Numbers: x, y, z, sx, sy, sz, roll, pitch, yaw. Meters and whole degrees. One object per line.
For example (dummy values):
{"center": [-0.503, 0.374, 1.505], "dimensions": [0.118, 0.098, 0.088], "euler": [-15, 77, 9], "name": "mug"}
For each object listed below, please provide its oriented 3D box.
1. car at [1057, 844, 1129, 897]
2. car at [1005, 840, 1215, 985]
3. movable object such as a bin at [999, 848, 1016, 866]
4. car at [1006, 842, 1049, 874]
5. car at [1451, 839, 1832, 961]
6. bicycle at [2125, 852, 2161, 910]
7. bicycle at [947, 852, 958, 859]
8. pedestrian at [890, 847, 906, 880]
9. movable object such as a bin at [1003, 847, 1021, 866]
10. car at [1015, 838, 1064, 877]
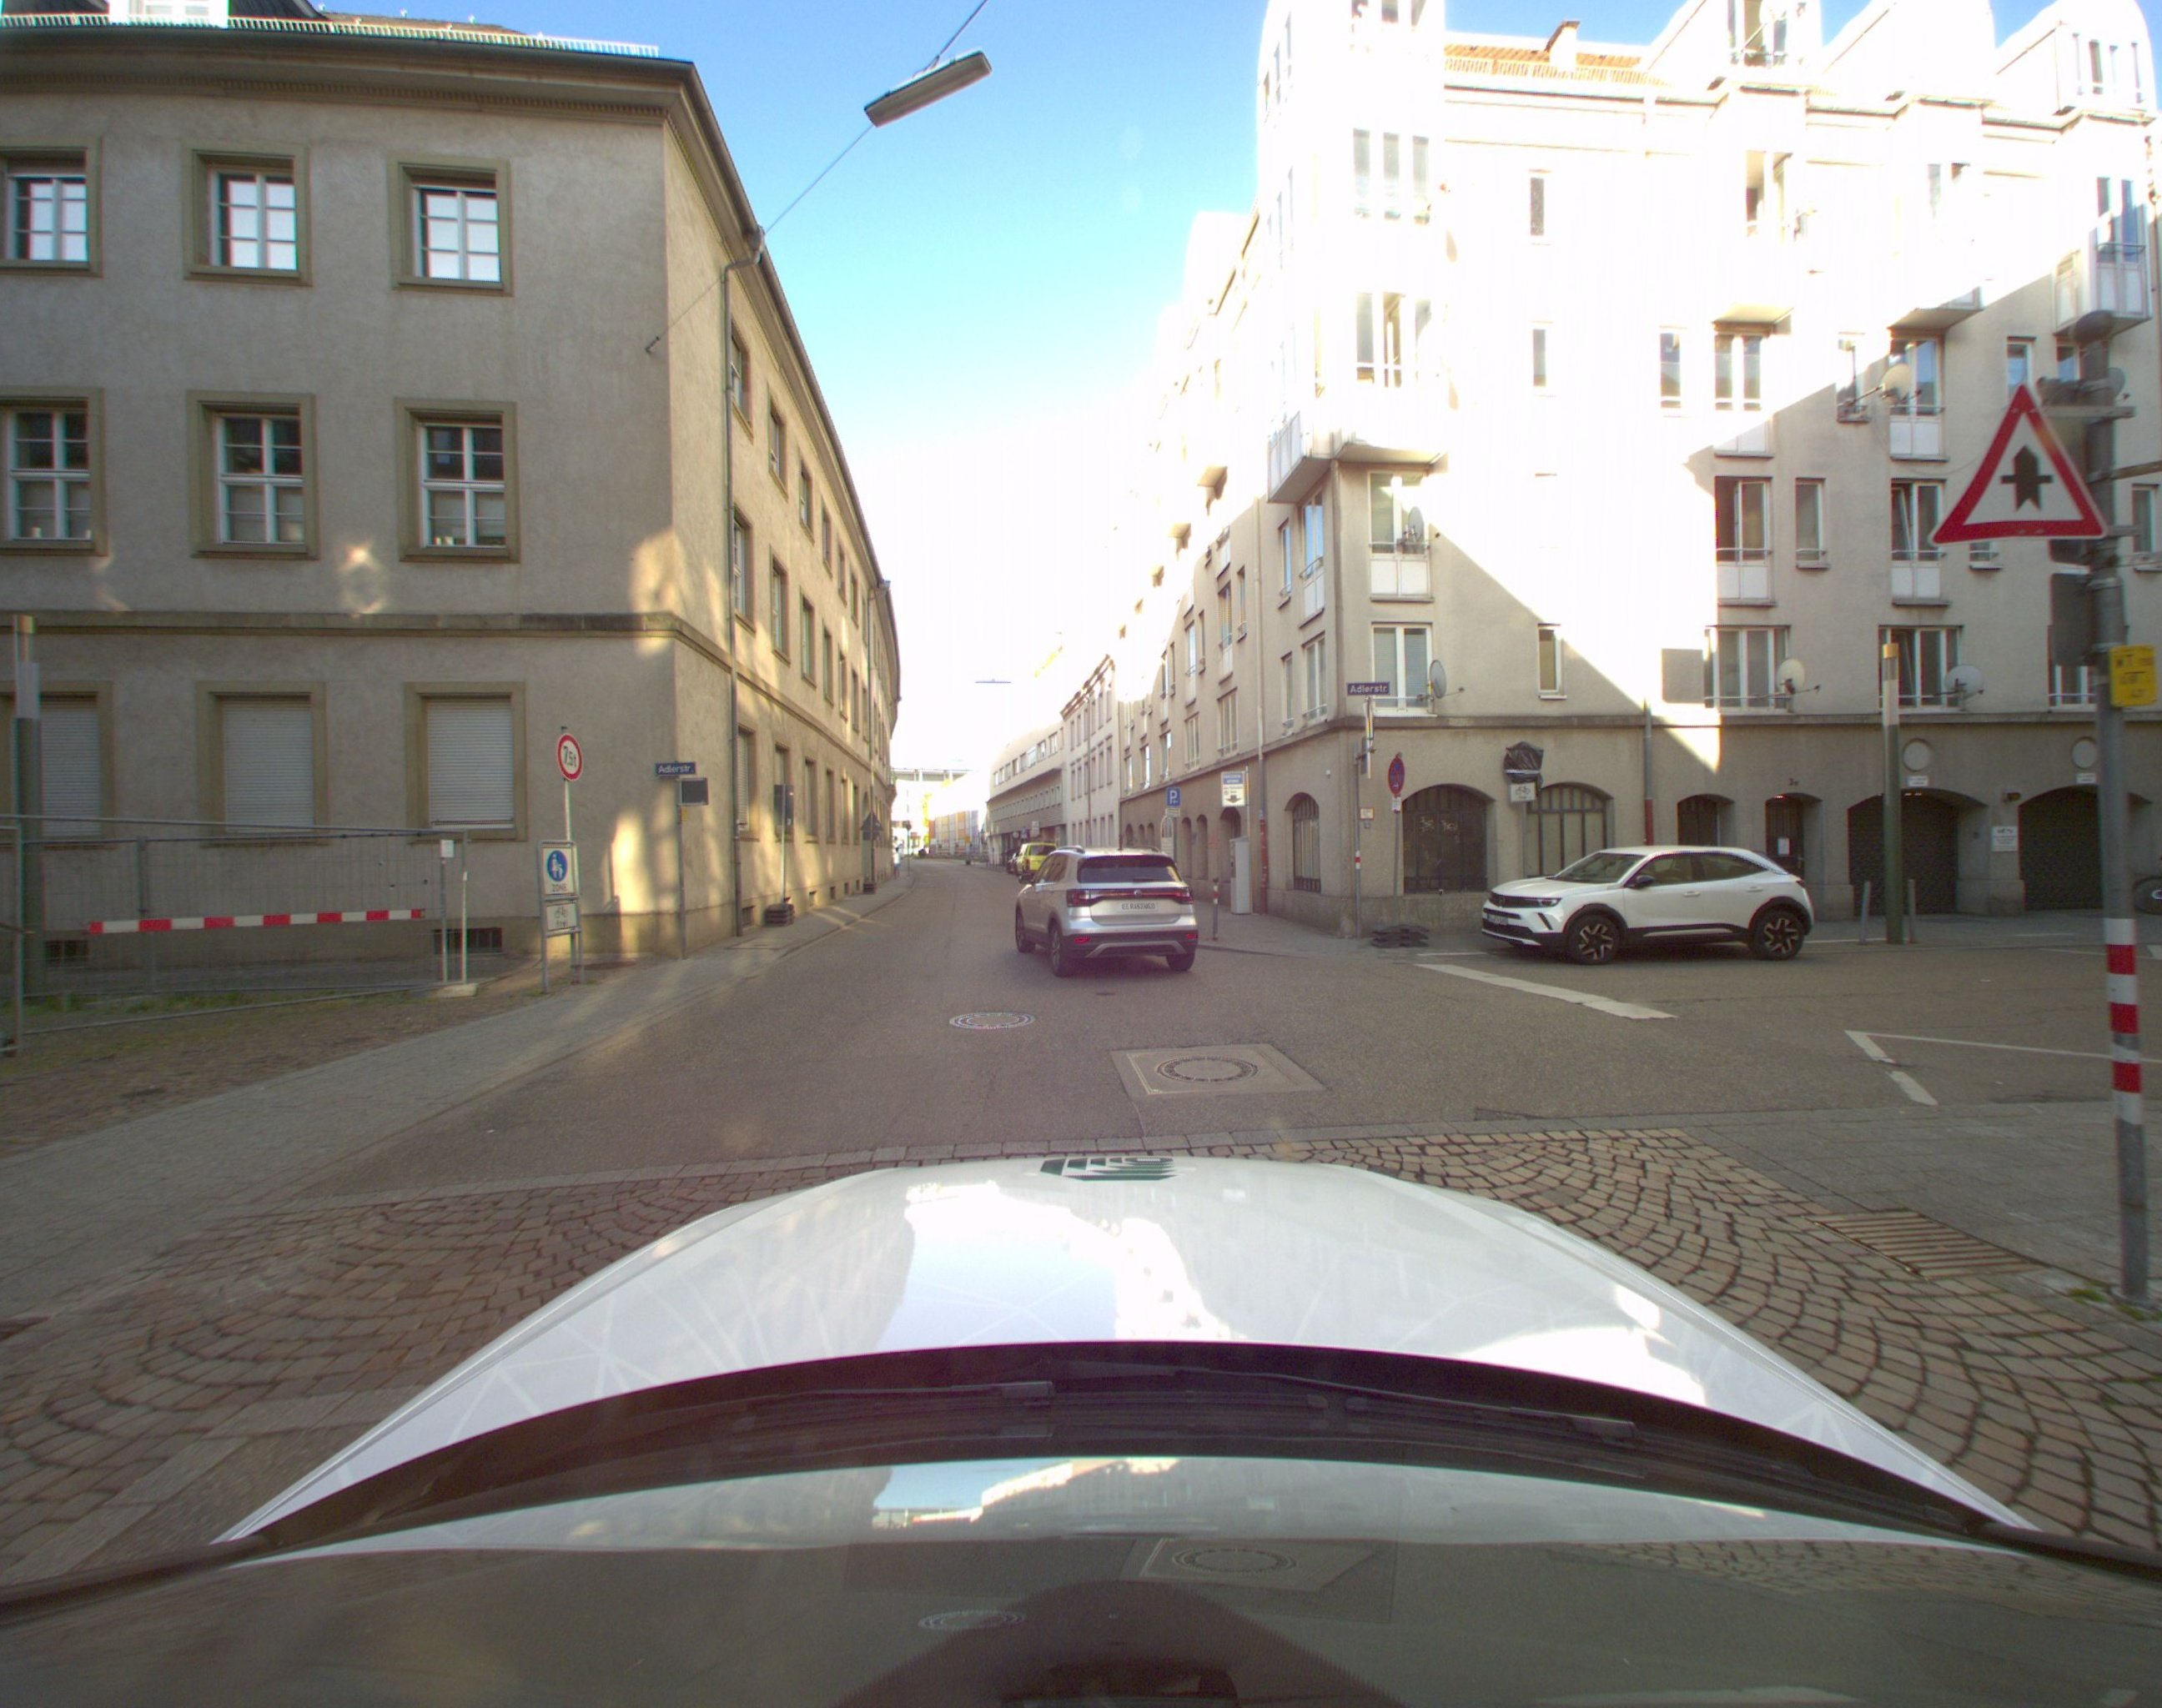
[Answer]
{"center": [0.333, 0.518, 28.030], "dimensions": [1.966, 1.692, 4.091], "euler": [0, 0, -7], "name": "car"}
{"center": [0.185, 0.639, 11.233], "dimensions": [1.839, 1.562, 3.981], "euler": [-2, 1, -14], "name": "car"}
{"center": [-6.387, 0.249, 70.404], "dimensions": [1.134, 1.479, 1.730], "euler": [-1, 0, -15], "name": "movable object such as a bin"}
{"center": [-3.348, 0.201, 50.268], "dimensions": [2.054, 1.873, 4.084], "euler": [-1, 1, -12], "name": "car"}
{"center": [7.815, 0.585, 11.652], "dimensions": [4.204, 1.553, 1.901], "euler": [-1, 0, -2], "name": "car"}
{"center": [20.072, 0.477, 14.899], "dimensions": [1.456, 1.020, 0.468], "euler": [-1, 0, -4], "name": "bicycle"}
{"center": [-20.966, 0.252, 133.092], "dimensions": [1.782, 1.000, 0.544], "euler": [-1, 0, -13], "name": "bicycle"}
{"center": [-9.699, 0.481, 43.187], "dimensions": [0.767, 1.724, 0.684], "euler": [-1, 0, -13], "name": "pedestrian"}
{"center": [-5.823, 0.228, 68.703], "dimensions": [1.134, 1.558, 1.730], "euler": [-1, 0, -15], "name": "movable object such as a bin"}
{"center": [-2.328, 0.155, 44.486], "dimensions": [2.054, 2.013, 4.158], "euler": [-1, 1, -12], "name": "car"}
